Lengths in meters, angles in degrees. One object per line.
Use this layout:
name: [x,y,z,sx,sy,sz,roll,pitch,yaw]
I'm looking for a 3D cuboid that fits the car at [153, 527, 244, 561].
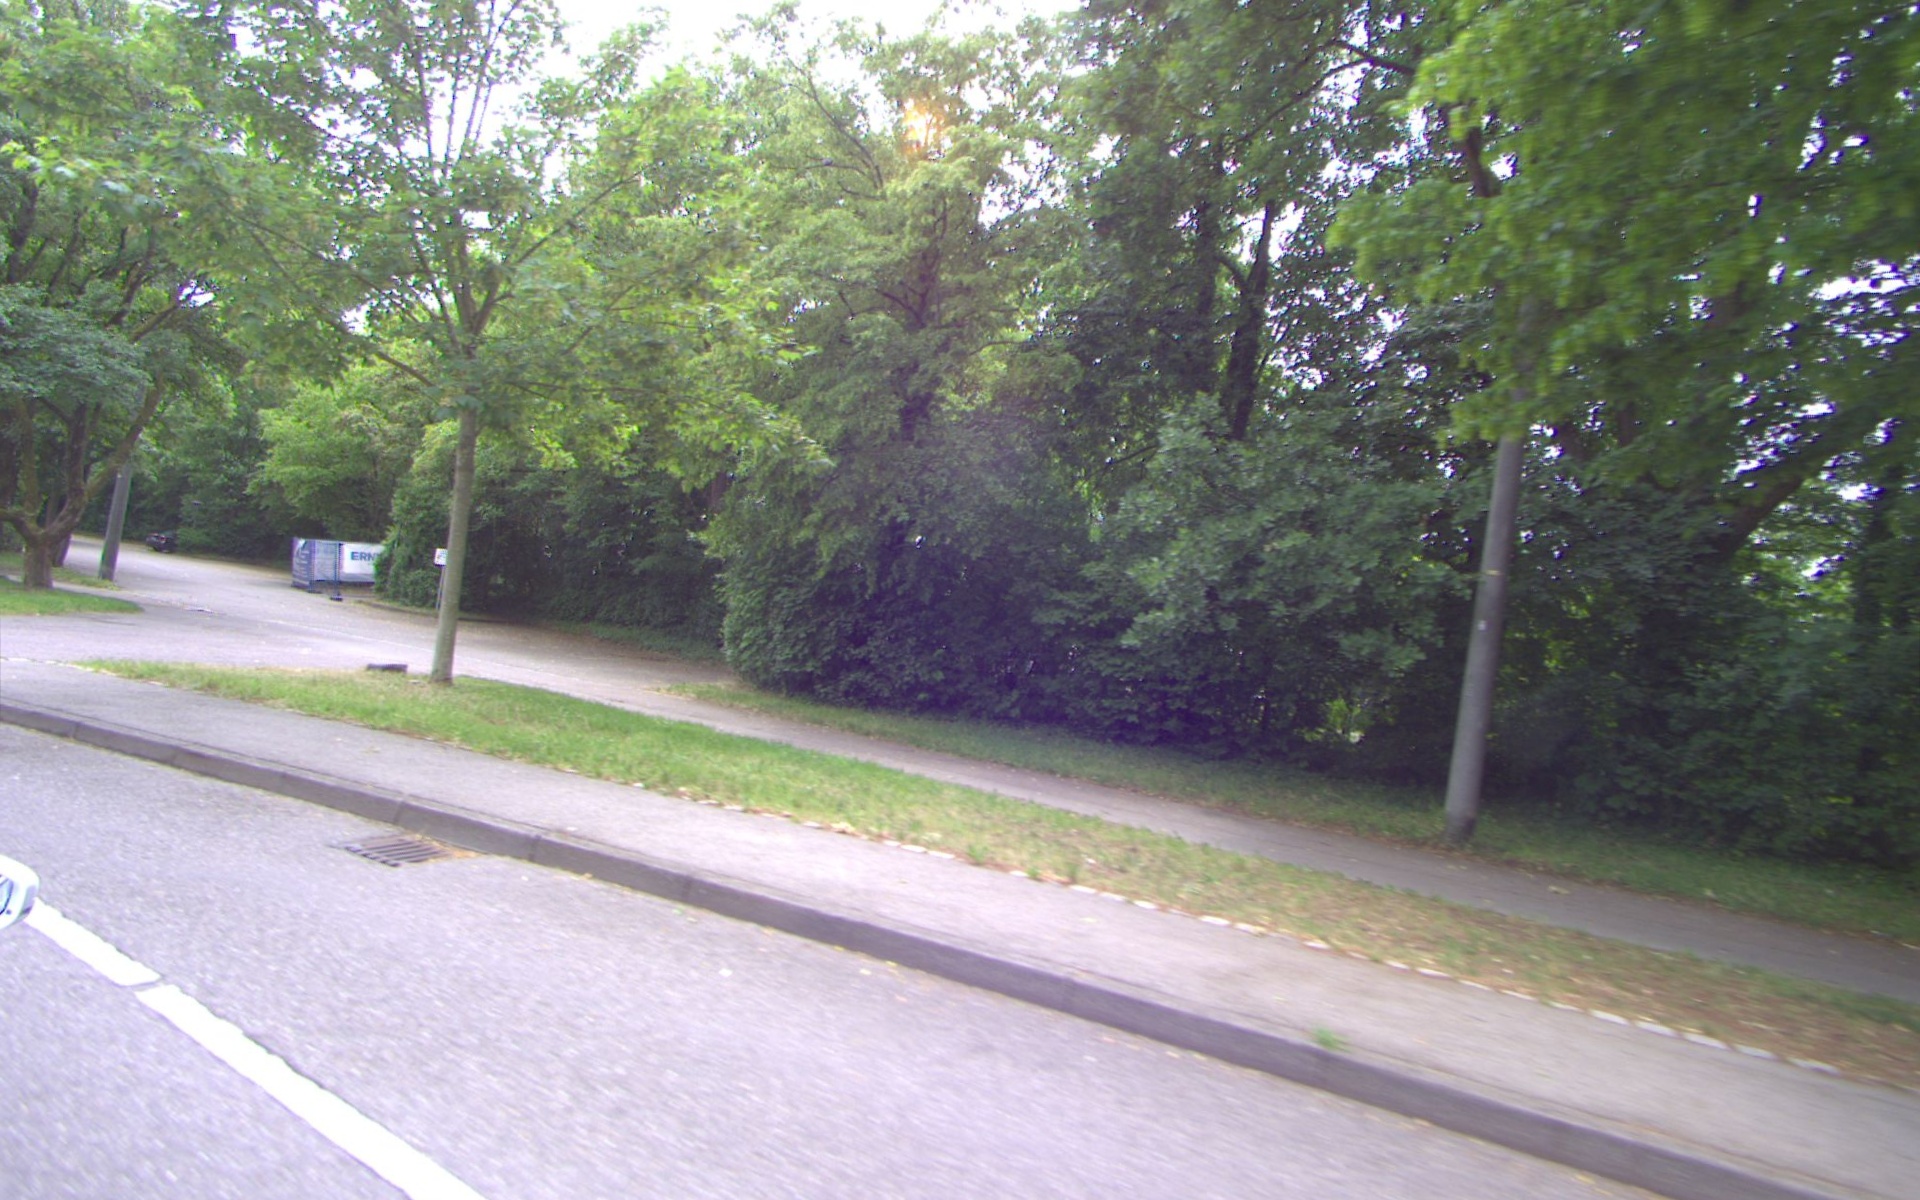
car: [-47.168,-3.454,62.387,1.769,1.425,3.998,6,-3,29]
